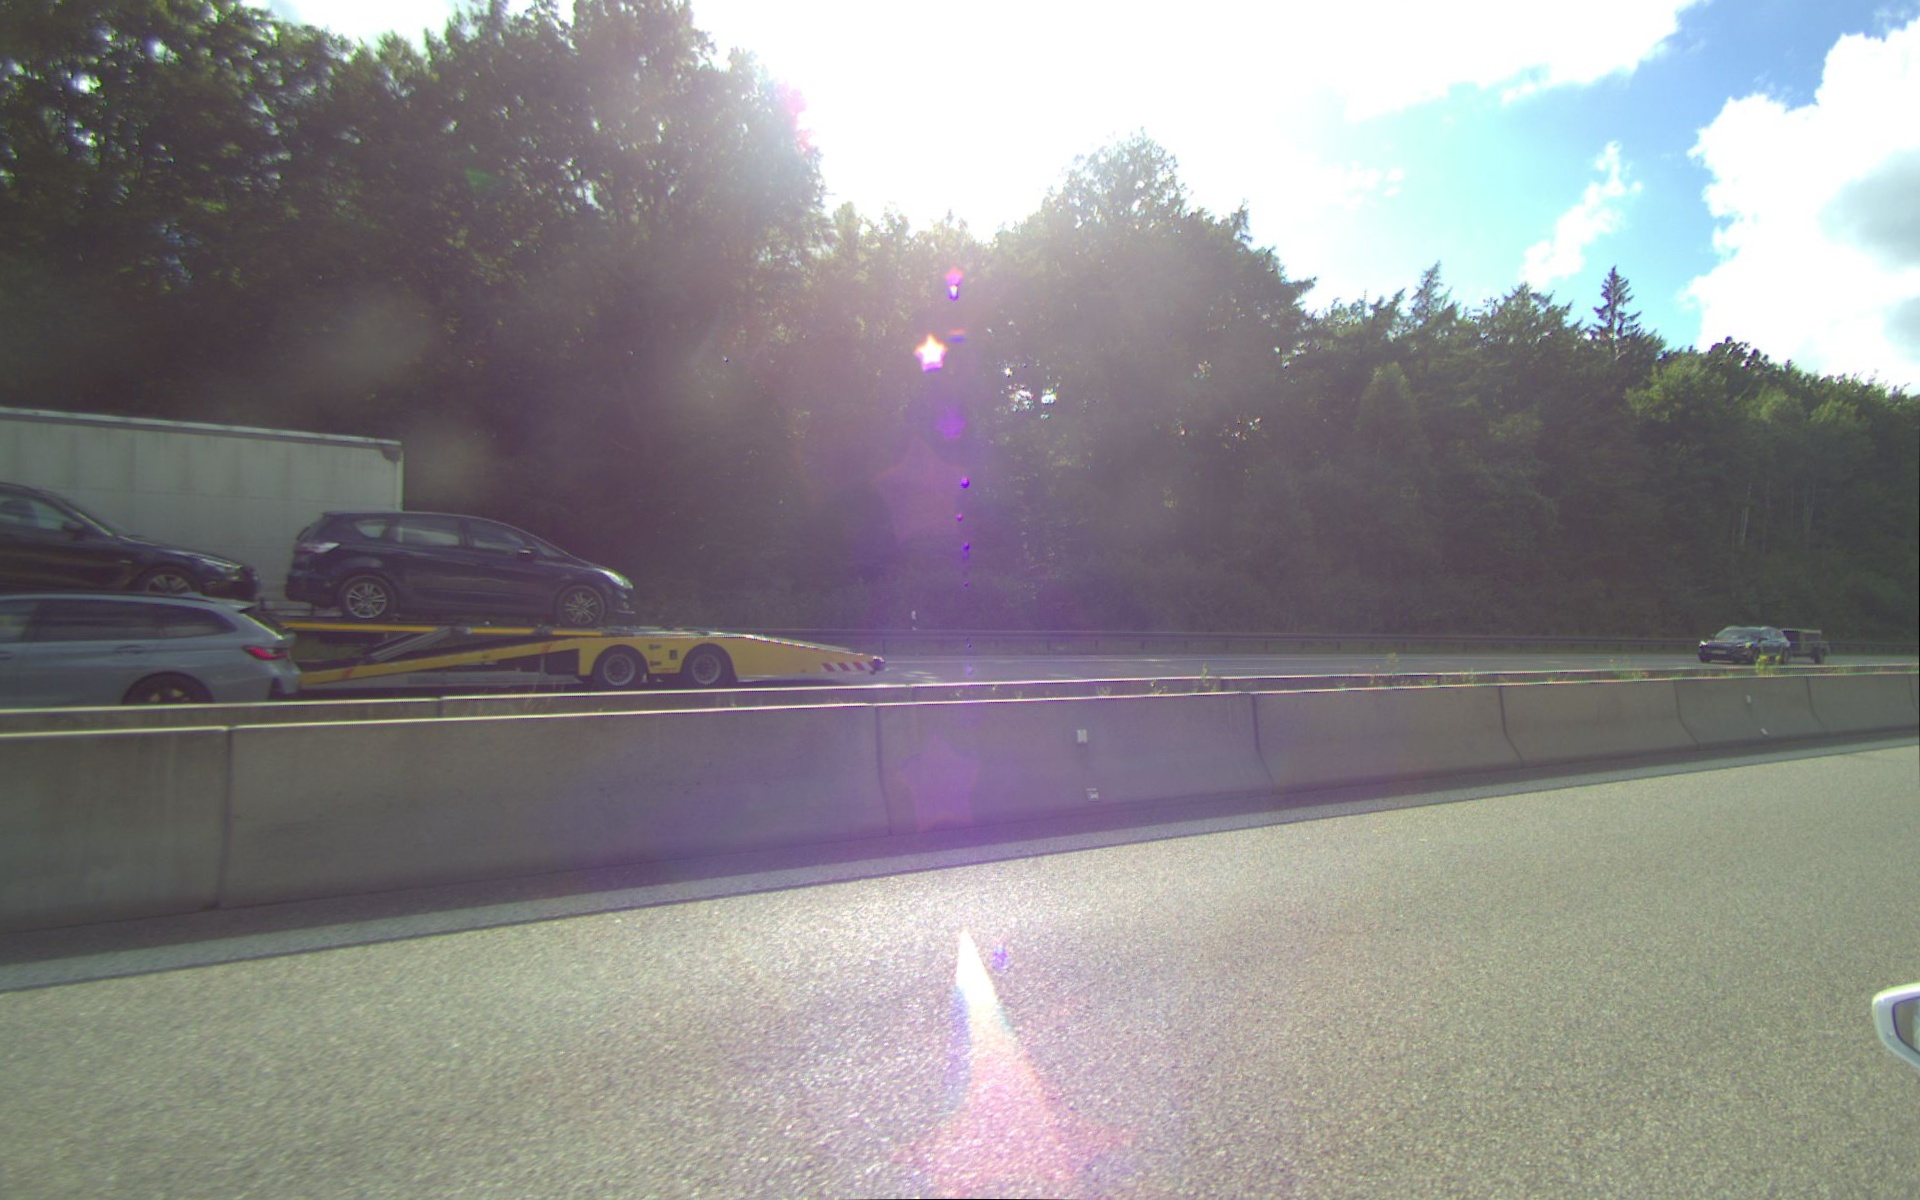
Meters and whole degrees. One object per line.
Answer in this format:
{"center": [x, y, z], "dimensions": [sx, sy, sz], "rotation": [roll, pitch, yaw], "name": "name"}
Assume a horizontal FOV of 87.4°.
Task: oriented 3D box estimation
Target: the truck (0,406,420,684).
{"center": [-15.759, -0.843, 15.508], "dimensions": [12.939, 4.123, 2.692], "rotation": [1, 0, -31], "name": "truck"}

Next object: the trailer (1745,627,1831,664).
{"center": [34.519, 1.861, 41.853], "dimensions": [3.668, 1.432, 1.650], "rotation": [1, 0, -32], "name": "trailer"}

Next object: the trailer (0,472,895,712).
{"center": [-7.482, 0.010, 15.286], "dimensions": [13.159, 2.756, 2.762], "rotation": [1, 0, -31], "name": "trailer"}

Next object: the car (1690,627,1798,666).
{"center": [30.874, 1.806, 39.540], "dimensions": [4.882, 1.408, 1.802], "rotation": [1, 0, -32], "name": "car"}

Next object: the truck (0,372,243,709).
{"center": [-13.010, -0.724, 11.901], "dimensions": [7.052, 3.861, 2.762], "rotation": [1, 0, -31], "name": "truck"}

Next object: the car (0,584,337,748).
{"center": [-9.201, 0.600, 10.122], "dimensions": [4.930, 1.506, 1.982], "rotation": [1, 0, -33], "name": "car"}
